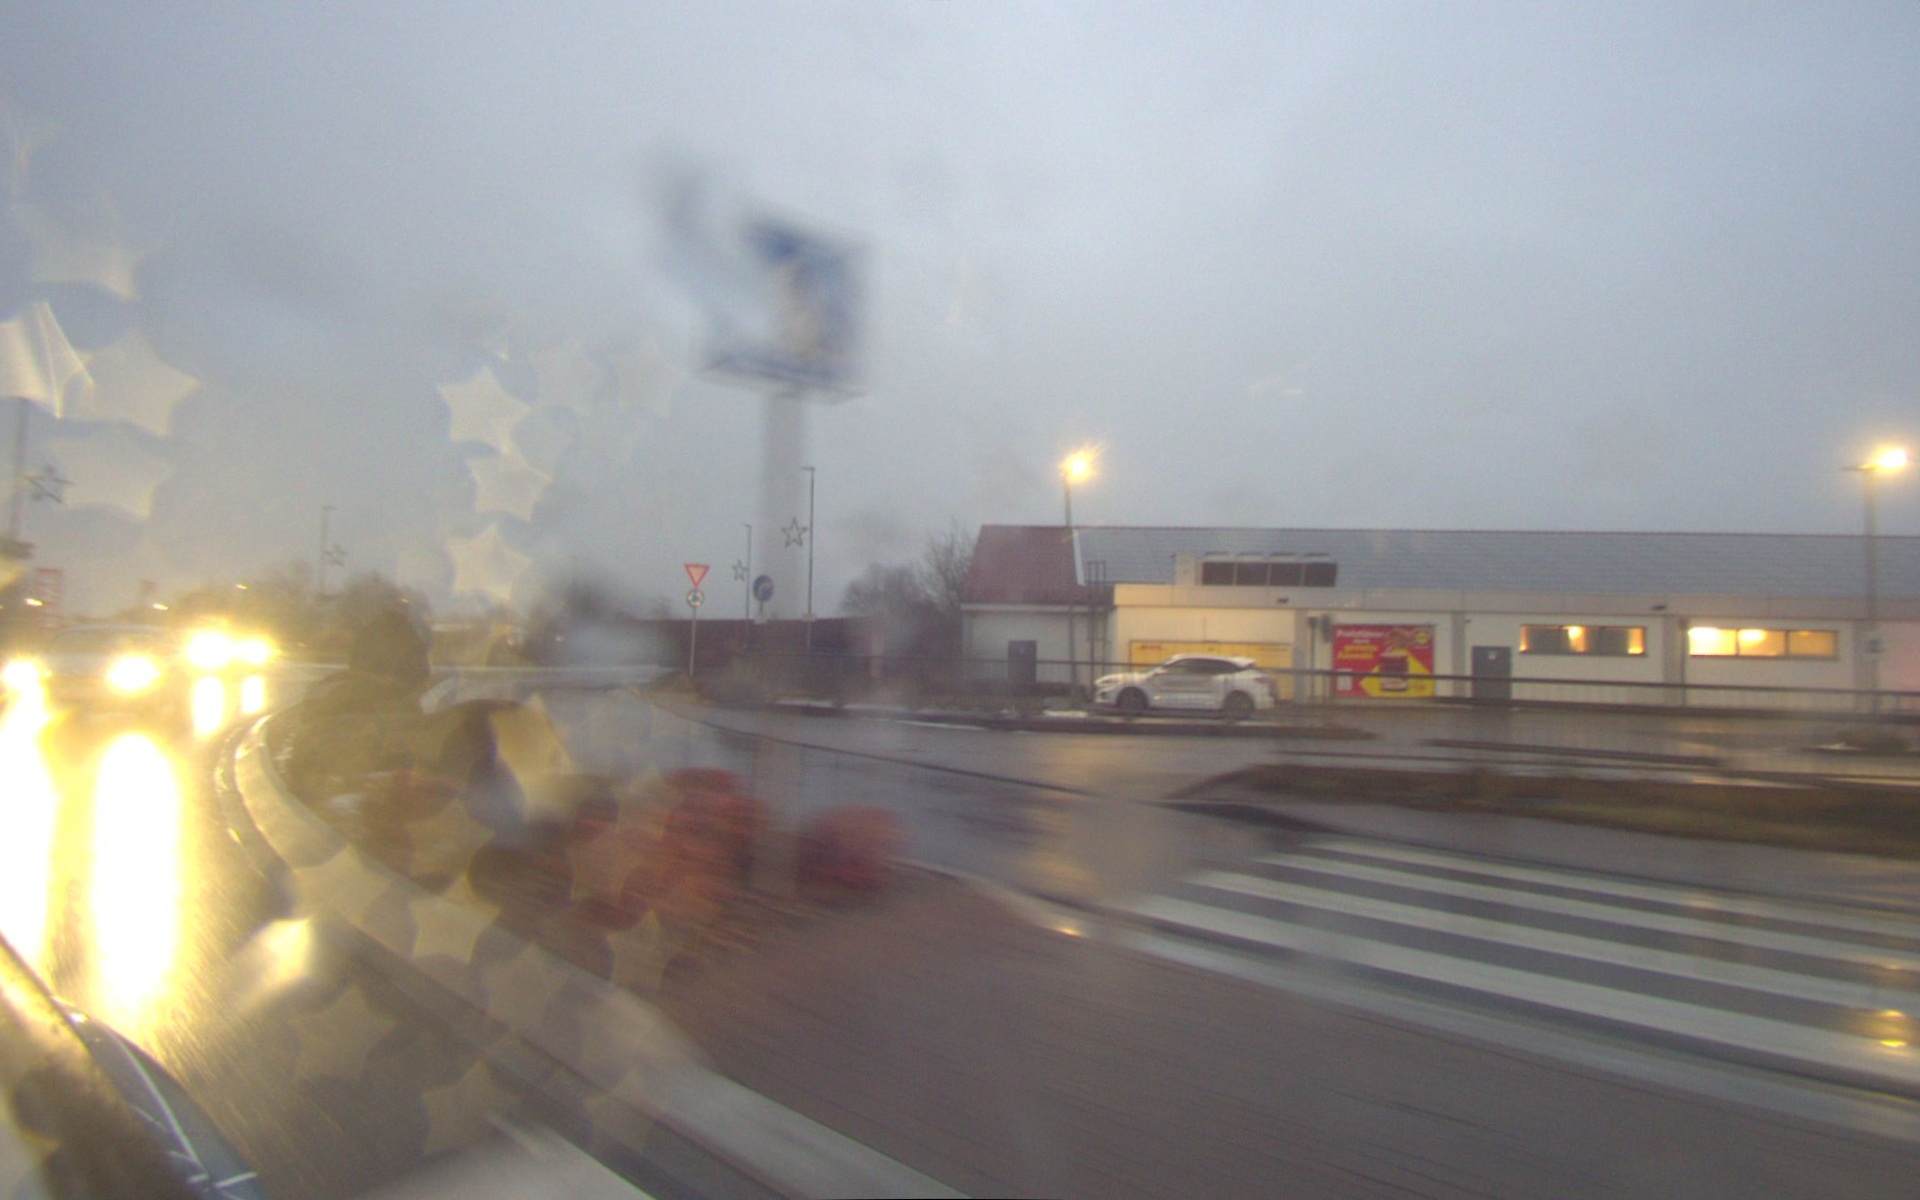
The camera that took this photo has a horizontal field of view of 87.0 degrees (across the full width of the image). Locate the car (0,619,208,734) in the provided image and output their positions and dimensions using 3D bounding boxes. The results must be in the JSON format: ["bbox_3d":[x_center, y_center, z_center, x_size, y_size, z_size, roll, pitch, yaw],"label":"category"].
[{"bbox_3d":[-14.198,1.229,17.045,1.746,1.655,4.435,2,-3,-28],"label":"car"}]

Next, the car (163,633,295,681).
[{"bbox_3d":[-23.976,1.837,33.182,3.982,1.484,1.980,-1,-3,29],"label":"car"}]

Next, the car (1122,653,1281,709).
[{"bbox_3d":[7.451,2.493,31.635,4.598,1.548,1.886,1,-3,7],"label":"car"}]

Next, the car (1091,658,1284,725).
[{"bbox_3d":[5.847,2.349,26.459,4.728,1.548,1.685,1,-3,7],"label":"car"}]
